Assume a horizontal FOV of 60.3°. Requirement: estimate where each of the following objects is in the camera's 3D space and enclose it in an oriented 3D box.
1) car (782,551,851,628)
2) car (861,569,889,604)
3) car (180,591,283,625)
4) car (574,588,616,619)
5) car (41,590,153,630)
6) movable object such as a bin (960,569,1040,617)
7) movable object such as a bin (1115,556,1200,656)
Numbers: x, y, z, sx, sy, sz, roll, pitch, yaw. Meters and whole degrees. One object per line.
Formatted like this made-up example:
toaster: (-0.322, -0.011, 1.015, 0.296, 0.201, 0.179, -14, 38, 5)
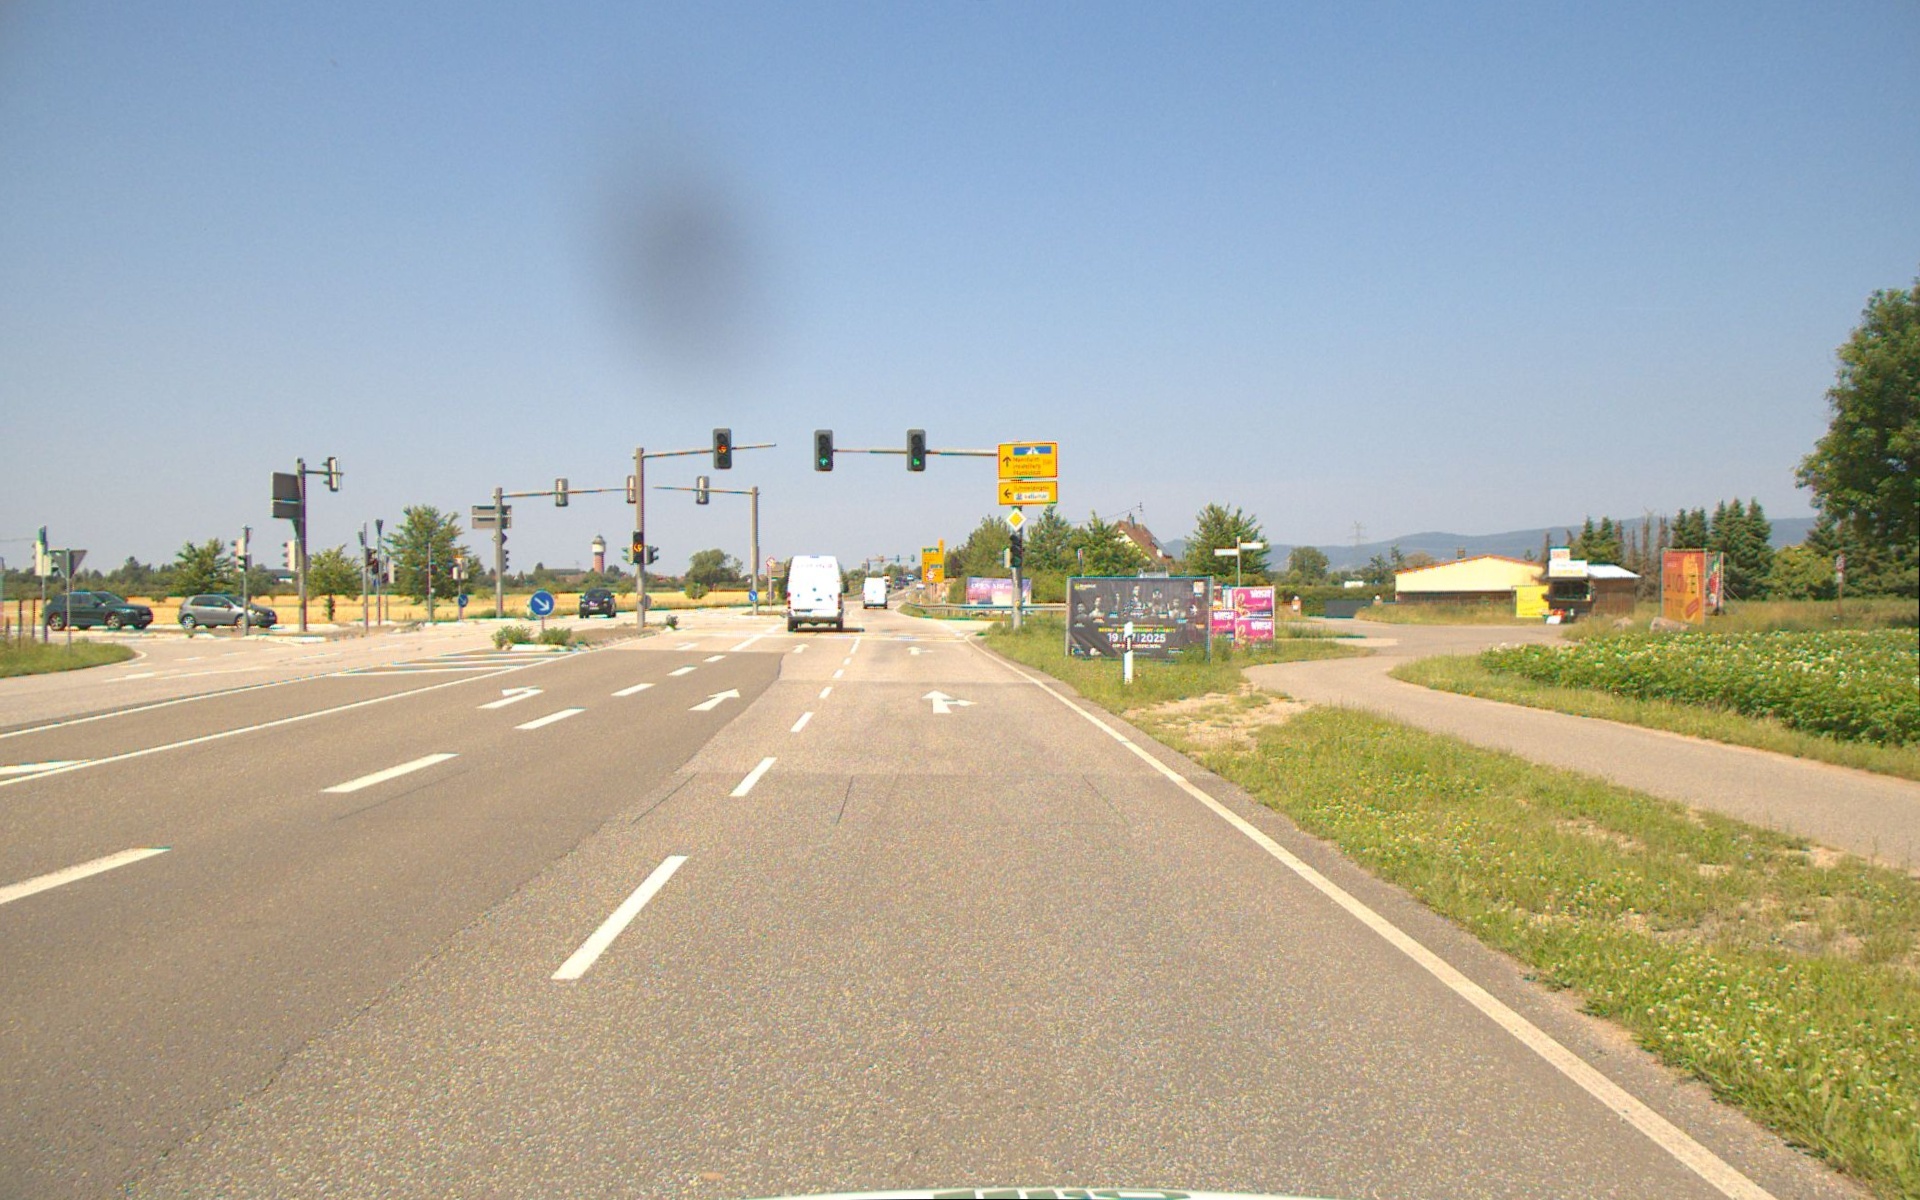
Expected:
car: (-5.138, -0.395, 59.948, 1.997, 2.665, 5.741, 0, 1, 0)
car: (-7.043, -1.099, 137.383, 1.952, 2.742, 4.969, 1, -1, 1)
car: (-31.372, 0.327, 71.220, 3.785, 1.411, 1.636, 0, 1, 11)
car: (-19.948, 0.175, 90.590, 1.795, 1.628, 4.299, -1, 0, -7)
car: (-37.593, 0.414, 72.041, 4.262, 1.622, 1.636, -1, 0, 13)
movable object such as a bin: (2.098, -0.365, 86.667, 4.016, 2.372, 1.275, 1, 0, -7)
movable object such as a bin: (5.130, 0.163, 42.501, 1.489, 2.404, 4.427, 1, 0, 15)
